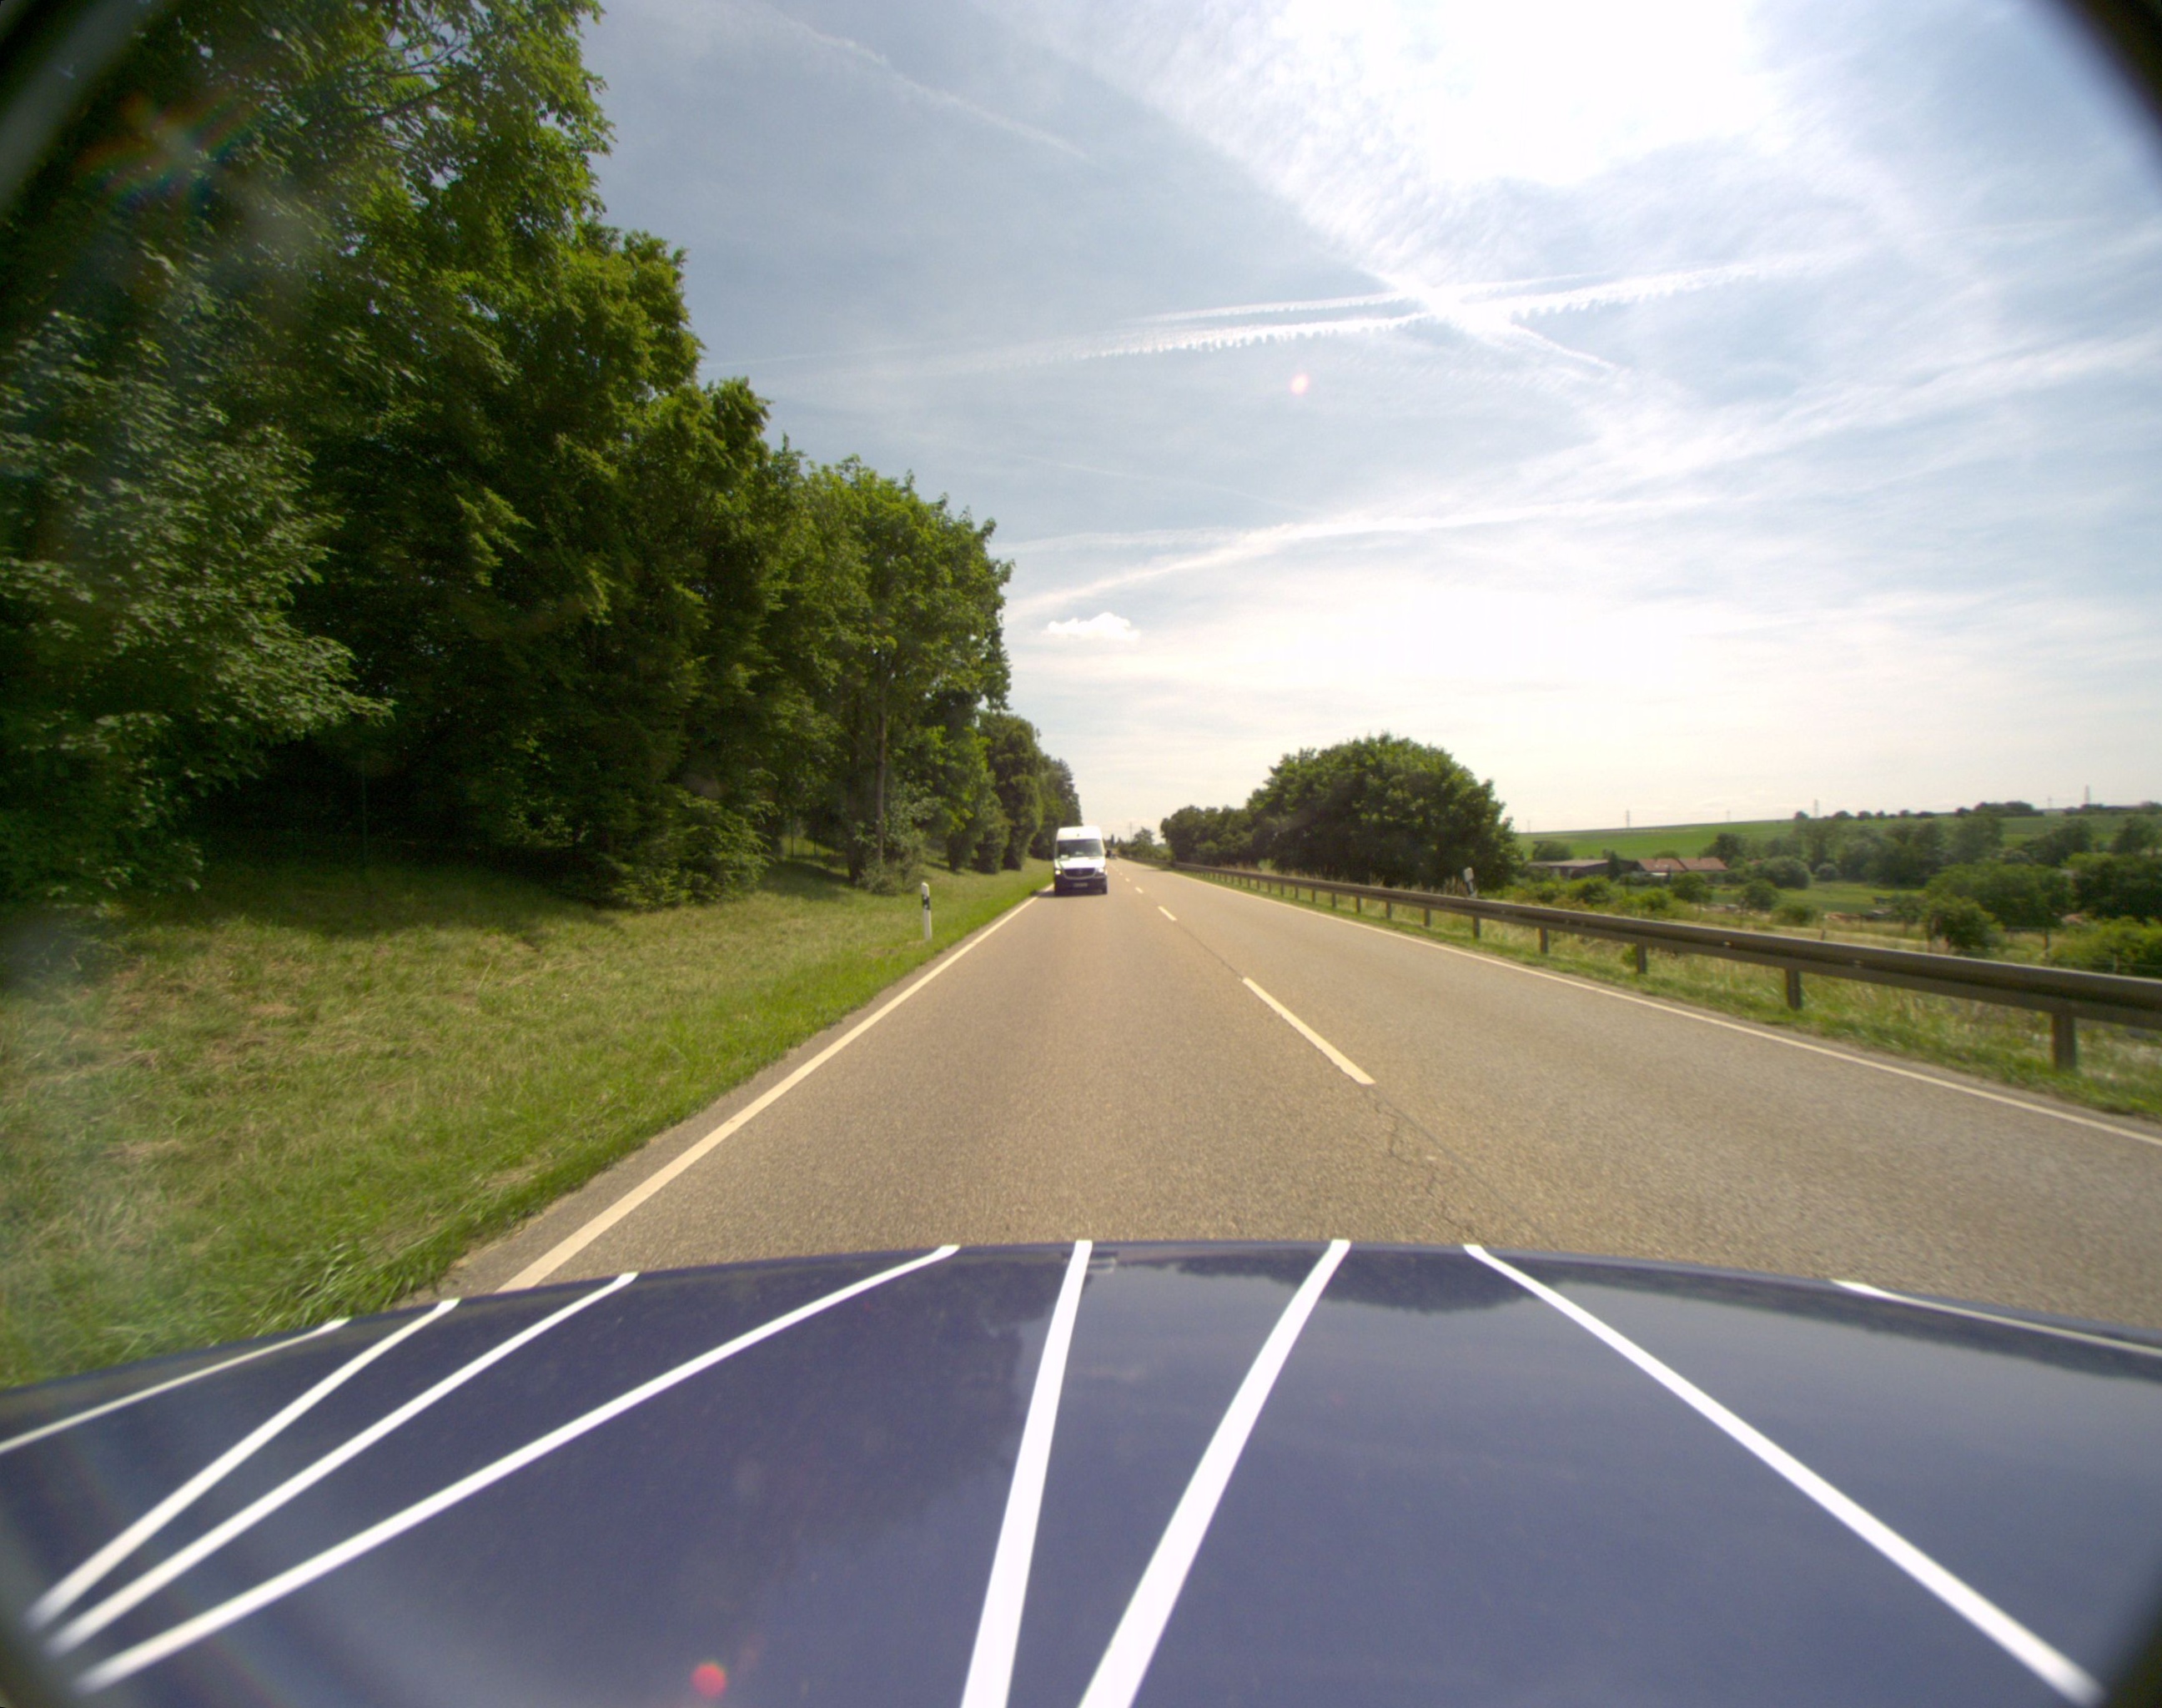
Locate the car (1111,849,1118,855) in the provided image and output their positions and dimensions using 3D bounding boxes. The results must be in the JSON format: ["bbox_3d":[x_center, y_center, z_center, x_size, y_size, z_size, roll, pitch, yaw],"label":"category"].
[{"bbox_3d":[7.535,-0.449,169.544,1.561,1.454,3.550,-2,0,3],"label":"car"}]

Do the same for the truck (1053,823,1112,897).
[{"bbox_3d":[0.152,0.197,30.609,2.022,2.567,7.226,-2,0,2],"label":"truck"}]
